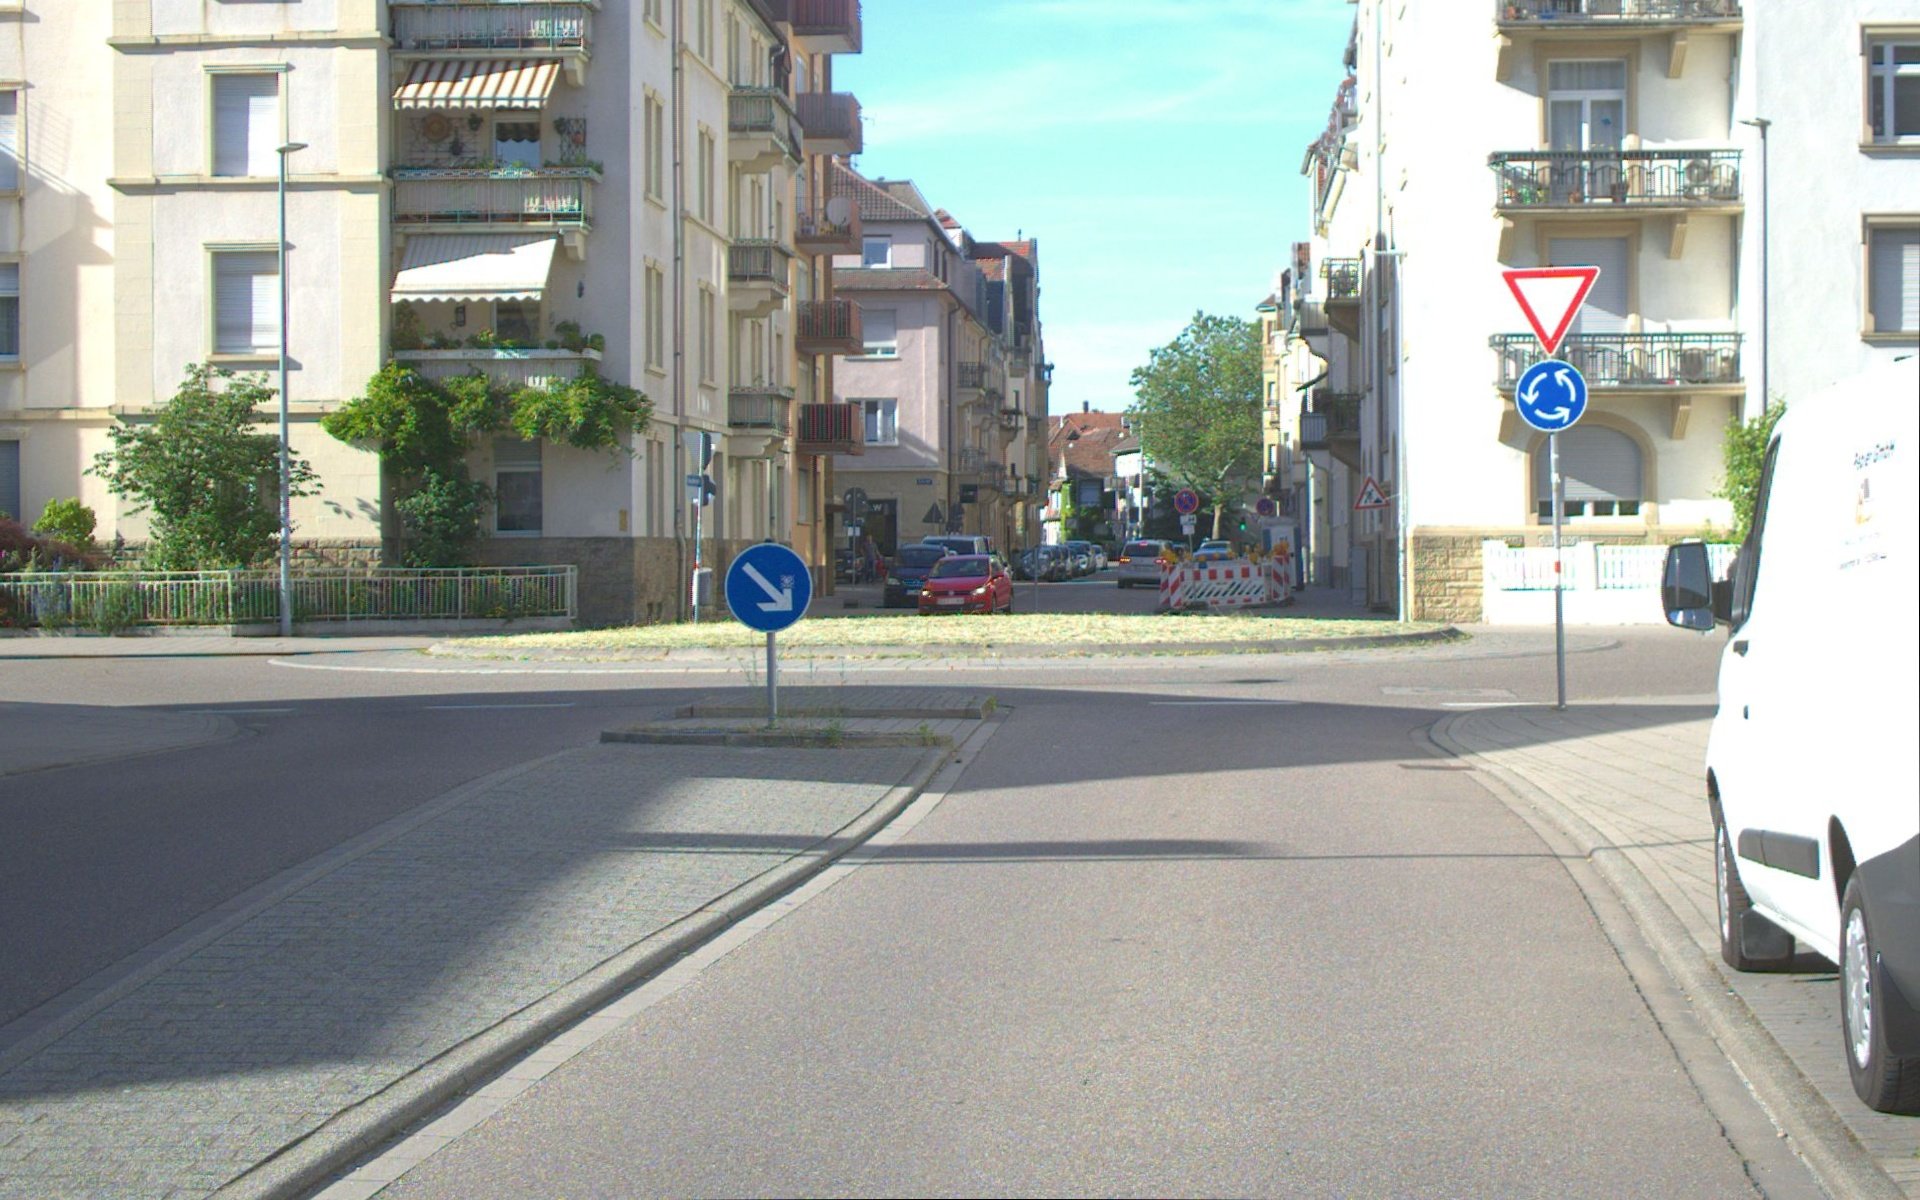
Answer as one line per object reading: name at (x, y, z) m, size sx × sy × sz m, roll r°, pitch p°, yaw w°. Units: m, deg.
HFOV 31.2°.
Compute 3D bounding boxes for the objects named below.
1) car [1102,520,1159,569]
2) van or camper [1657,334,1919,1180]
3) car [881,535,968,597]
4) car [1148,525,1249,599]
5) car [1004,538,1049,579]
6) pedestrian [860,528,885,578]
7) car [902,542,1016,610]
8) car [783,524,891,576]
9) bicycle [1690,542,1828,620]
car at (6.085, -1.989, 122.773) m, size 1.994 × 1.733 × 4.000 m, roll 0°, pitch 1°, yaw 3°
van or camper at (3.343, 0.285, 10.124) m, size 2.021 × 1.940 × 4.702 m, roll -2°, pitch 1°, yaw 6°
car at (-0.877, -0.874, 87.332) m, size 1.994 × 1.527 × 4.000 m, roll 0°, pitch 1°, yaw 2°
car at (5.994, -0.966, 85.984) m, size 2.432 × 1.805 × 4.723 m, roll 0°, pitch 1°, yaw 5°
car at (2.771, -1.725, 142.635) m, size 1.635 × 1.650 × 3.670 m, roll 0°, pitch 1°, yaw 5°
pedestrian at (-3.110, -1.675, 122.443) m, size 0.800 × 1.744 × 0.845 m, roll 0°, pitch 1°, yaw 6°
car at (0.001, -0.508, 75.219) m, size 1.741 × 1.349 × 3.667 m, roll -1°, pitch -2°, yaw 12°
car at (-4.810, -1.941, 134.210) m, size 3.902 × 2.007 × 1.762 m, roll 0°, pitch 1°, yaw 12°
bicycle at (13.536, -0.309, 58.254) m, size 2.169 × 1.264 × 0.762 m, roll -1°, pitch -2°, yaw 22°
